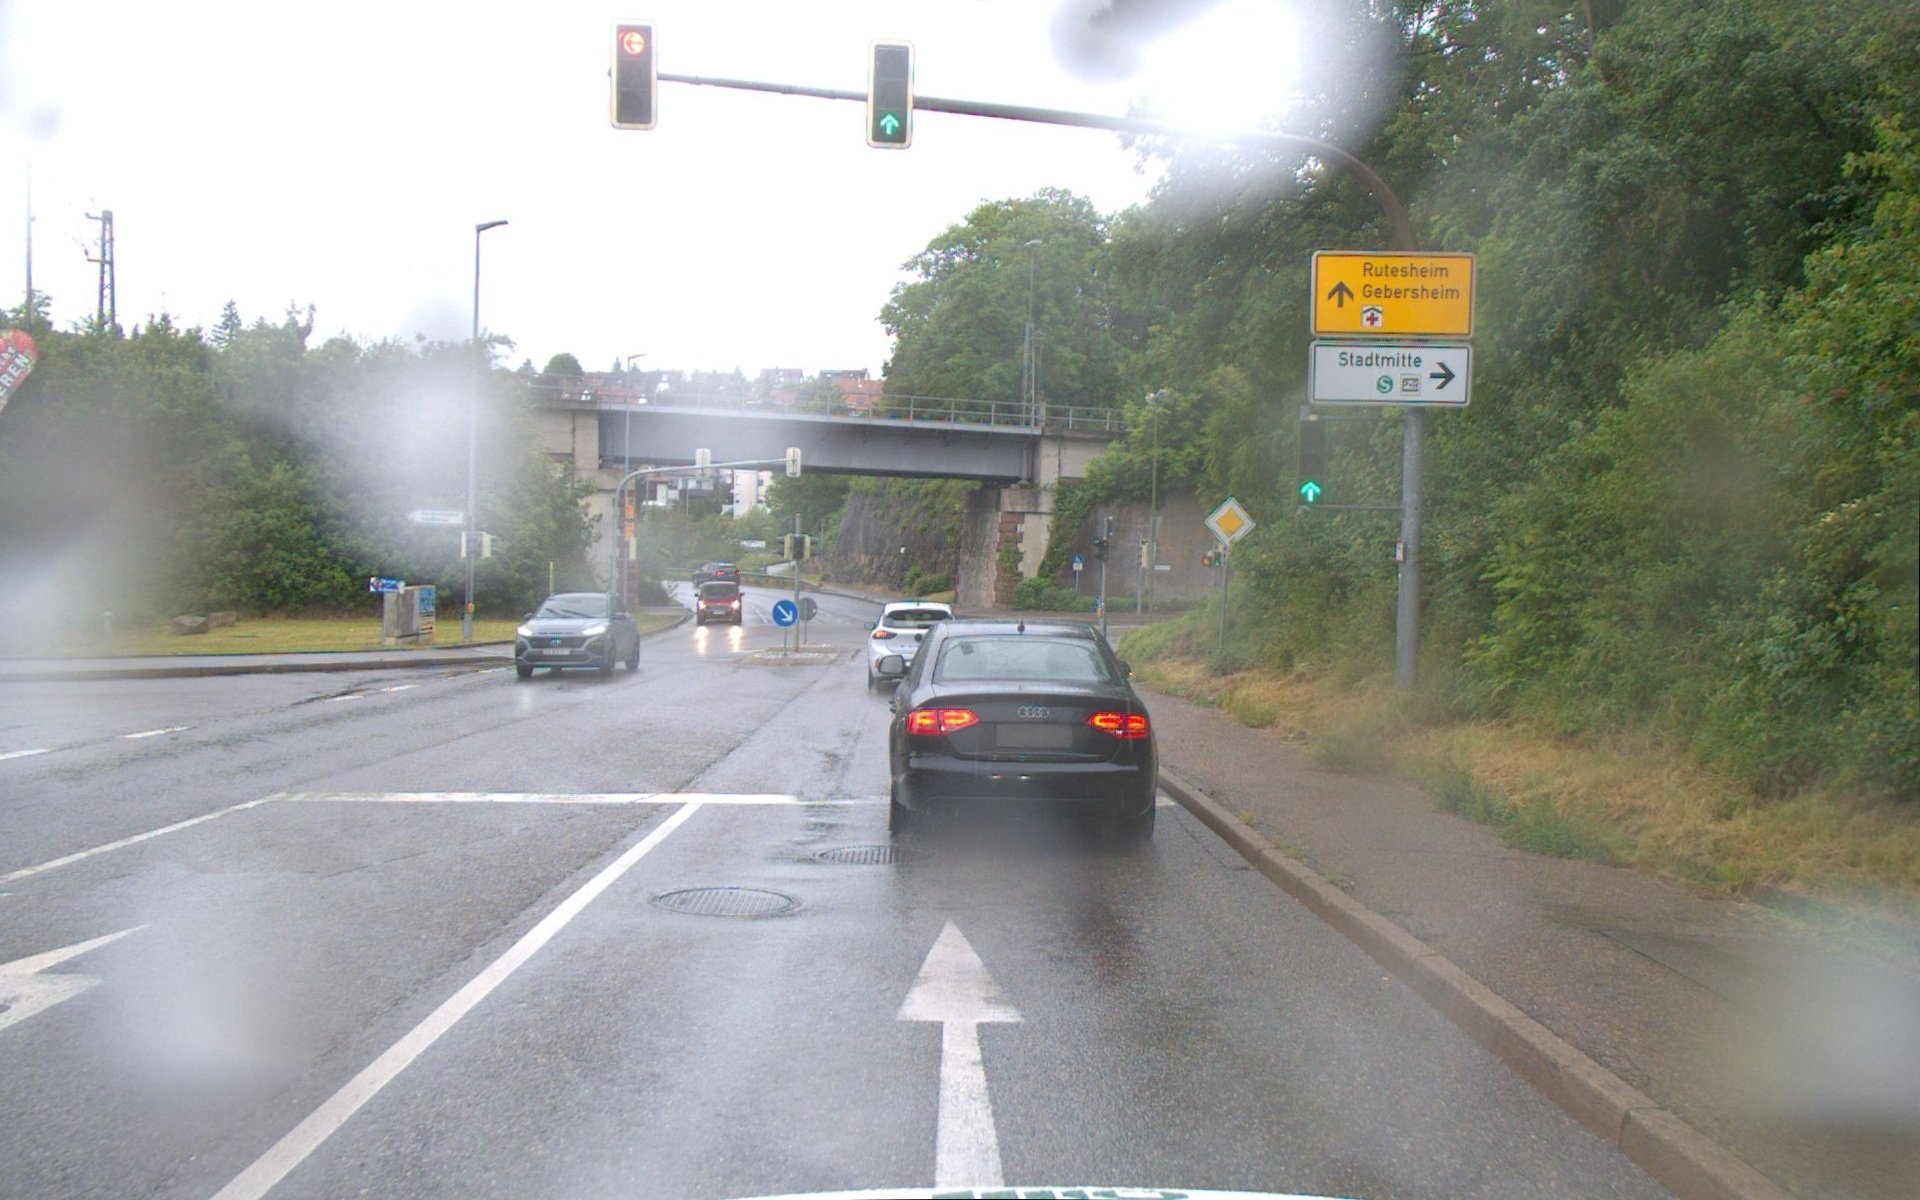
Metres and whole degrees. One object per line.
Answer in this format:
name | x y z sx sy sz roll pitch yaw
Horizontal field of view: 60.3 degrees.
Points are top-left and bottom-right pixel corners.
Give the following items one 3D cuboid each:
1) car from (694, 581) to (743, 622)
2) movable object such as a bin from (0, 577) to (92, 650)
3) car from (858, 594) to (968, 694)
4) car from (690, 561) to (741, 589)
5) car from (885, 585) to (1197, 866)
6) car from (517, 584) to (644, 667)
car | -10.108 0.045 69.484 1.956 1.657 3.993 0 0 -8
movable object such as a bin | -23.408 0.297 37.790 2.698 1.656 5.752 -1 -1 39
car | -0.799 0.762 29.044 1.786 1.613 3.999 0 -1 -1
car | -15.900 -1.625 107.431 1.973 1.623 3.961 -1 3 -30
car | 0.449 0.781 11.766 1.832 1.645 3.999 0 -1 -1
car | -7.297 0.467 32.165 1.606 1.495 3.999 1 0 -1
